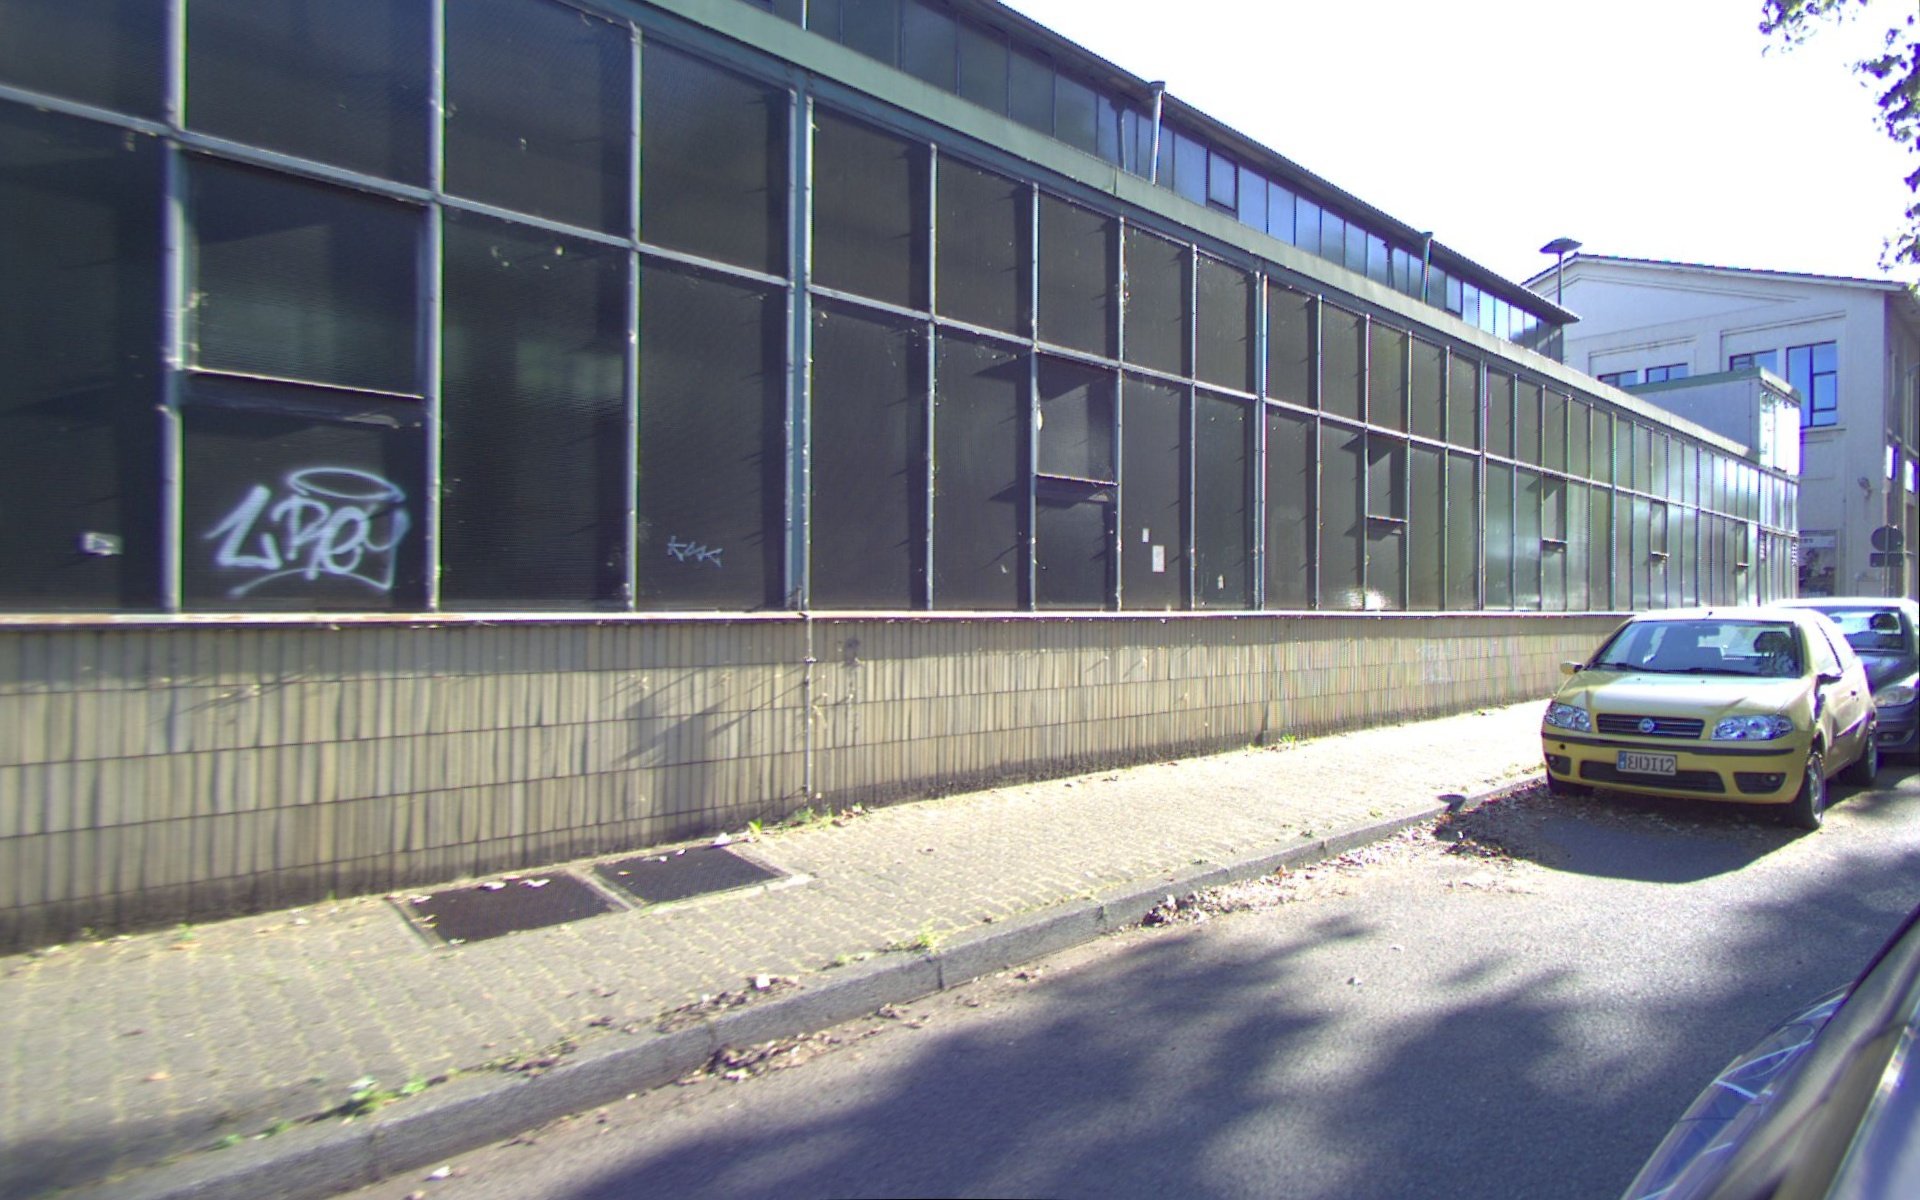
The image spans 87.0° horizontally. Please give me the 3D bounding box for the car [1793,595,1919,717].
[{"bbox_3d":[13.541,0.698,14.471,4.452,1.512,1.902,-1,0,-43],"label":"car"}]

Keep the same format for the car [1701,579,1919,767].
[{"bbox_3d":[9.596,0.634,10.828,4.233,1.655,1.753,-1,0,-41],"label":"car"}]

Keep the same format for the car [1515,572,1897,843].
[{"bbox_3d":[6.148,0.647,8.167,3.934,1.655,1.752,-1,0,-43],"label":"car"}]
